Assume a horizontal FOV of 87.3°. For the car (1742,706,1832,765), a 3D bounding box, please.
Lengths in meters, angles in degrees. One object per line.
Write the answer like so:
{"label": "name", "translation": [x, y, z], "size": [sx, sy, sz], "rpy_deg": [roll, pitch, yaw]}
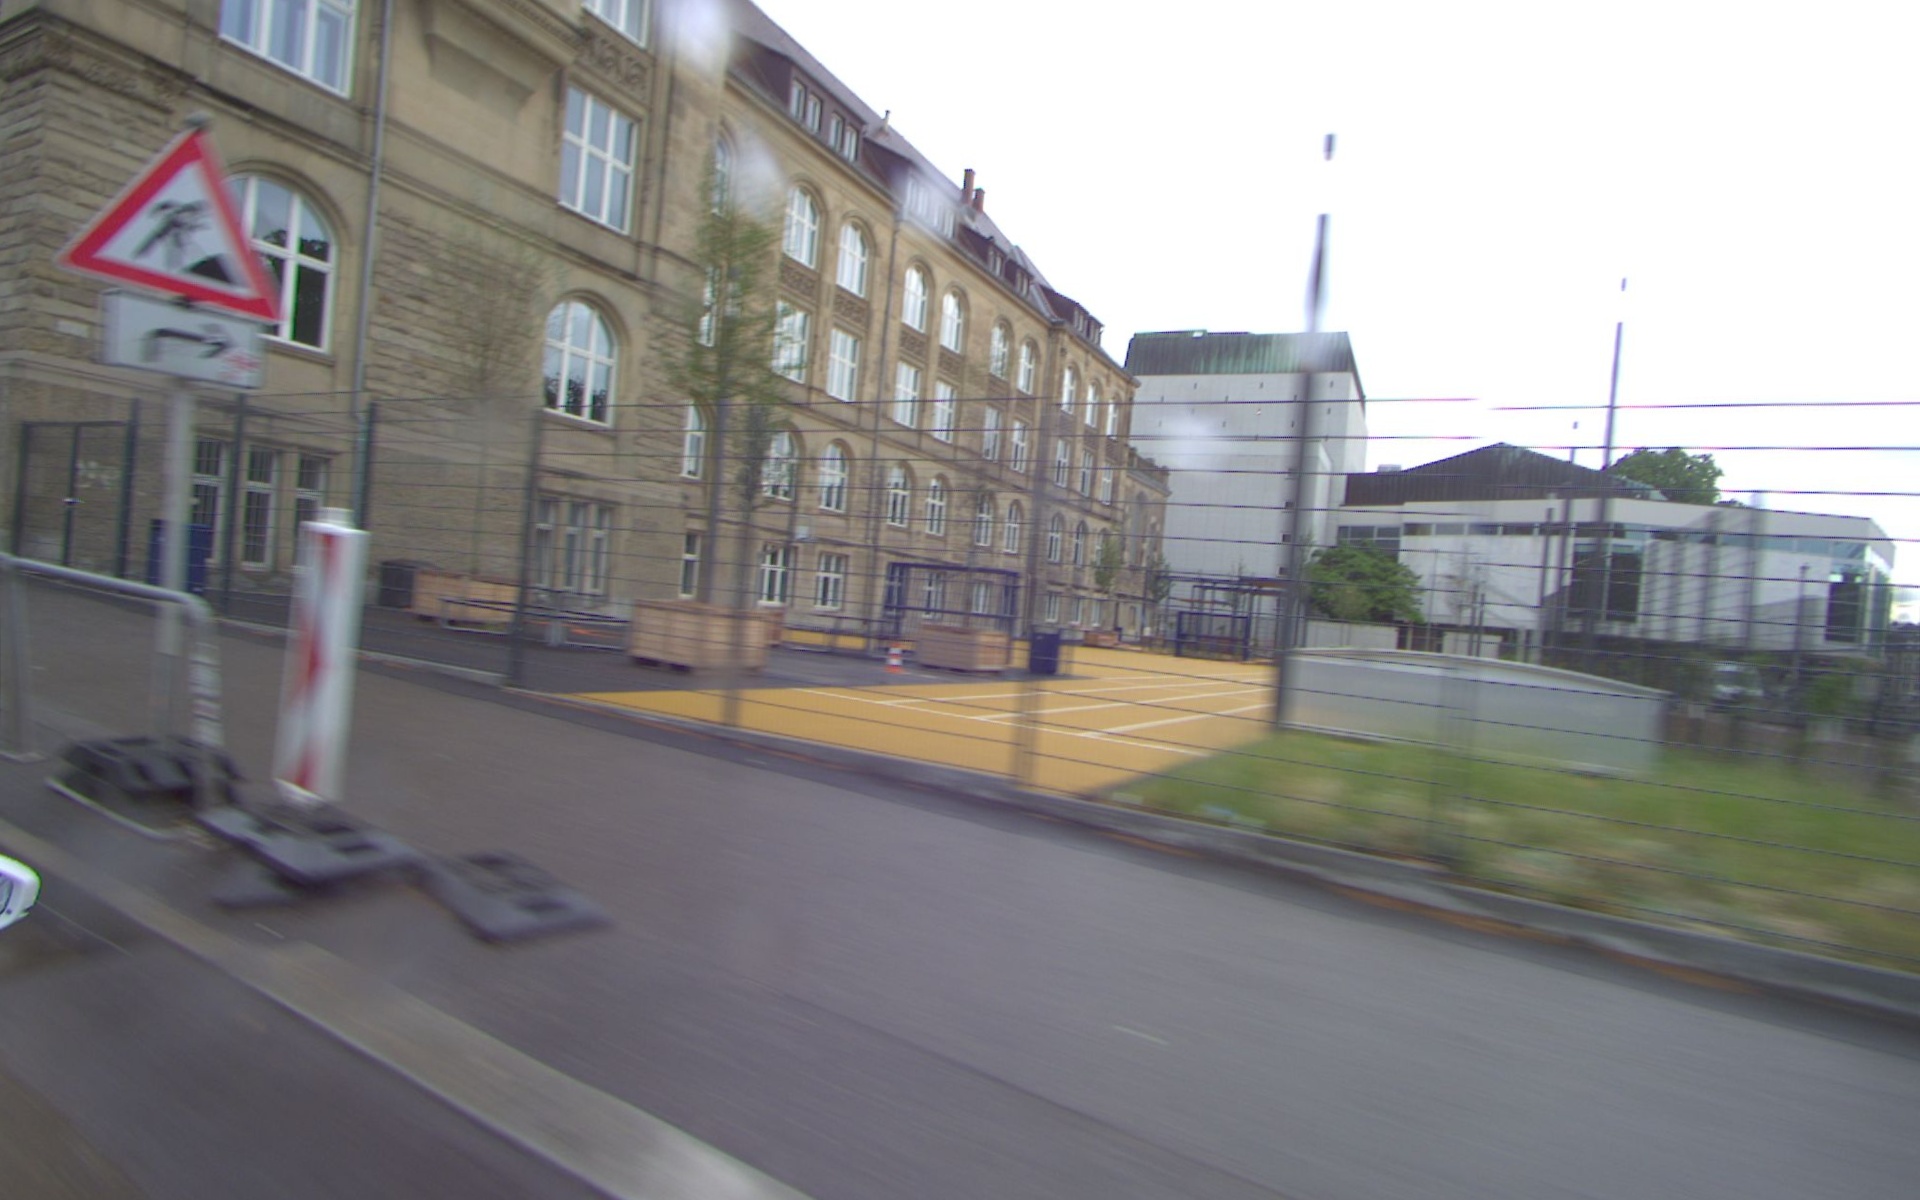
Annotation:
{"label": "car", "translation": [36.186, 5.878, 44.123], "size": [1.965, 2.038, 3.996], "rpy_deg": [5, -1, 25]}

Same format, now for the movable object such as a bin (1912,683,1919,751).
{"label": "movable object such as a bin", "translation": [38.181, 4.600, 37.634], "size": [2.453, 2.678, 4.569], "rpy_deg": [5, -1, 28]}
